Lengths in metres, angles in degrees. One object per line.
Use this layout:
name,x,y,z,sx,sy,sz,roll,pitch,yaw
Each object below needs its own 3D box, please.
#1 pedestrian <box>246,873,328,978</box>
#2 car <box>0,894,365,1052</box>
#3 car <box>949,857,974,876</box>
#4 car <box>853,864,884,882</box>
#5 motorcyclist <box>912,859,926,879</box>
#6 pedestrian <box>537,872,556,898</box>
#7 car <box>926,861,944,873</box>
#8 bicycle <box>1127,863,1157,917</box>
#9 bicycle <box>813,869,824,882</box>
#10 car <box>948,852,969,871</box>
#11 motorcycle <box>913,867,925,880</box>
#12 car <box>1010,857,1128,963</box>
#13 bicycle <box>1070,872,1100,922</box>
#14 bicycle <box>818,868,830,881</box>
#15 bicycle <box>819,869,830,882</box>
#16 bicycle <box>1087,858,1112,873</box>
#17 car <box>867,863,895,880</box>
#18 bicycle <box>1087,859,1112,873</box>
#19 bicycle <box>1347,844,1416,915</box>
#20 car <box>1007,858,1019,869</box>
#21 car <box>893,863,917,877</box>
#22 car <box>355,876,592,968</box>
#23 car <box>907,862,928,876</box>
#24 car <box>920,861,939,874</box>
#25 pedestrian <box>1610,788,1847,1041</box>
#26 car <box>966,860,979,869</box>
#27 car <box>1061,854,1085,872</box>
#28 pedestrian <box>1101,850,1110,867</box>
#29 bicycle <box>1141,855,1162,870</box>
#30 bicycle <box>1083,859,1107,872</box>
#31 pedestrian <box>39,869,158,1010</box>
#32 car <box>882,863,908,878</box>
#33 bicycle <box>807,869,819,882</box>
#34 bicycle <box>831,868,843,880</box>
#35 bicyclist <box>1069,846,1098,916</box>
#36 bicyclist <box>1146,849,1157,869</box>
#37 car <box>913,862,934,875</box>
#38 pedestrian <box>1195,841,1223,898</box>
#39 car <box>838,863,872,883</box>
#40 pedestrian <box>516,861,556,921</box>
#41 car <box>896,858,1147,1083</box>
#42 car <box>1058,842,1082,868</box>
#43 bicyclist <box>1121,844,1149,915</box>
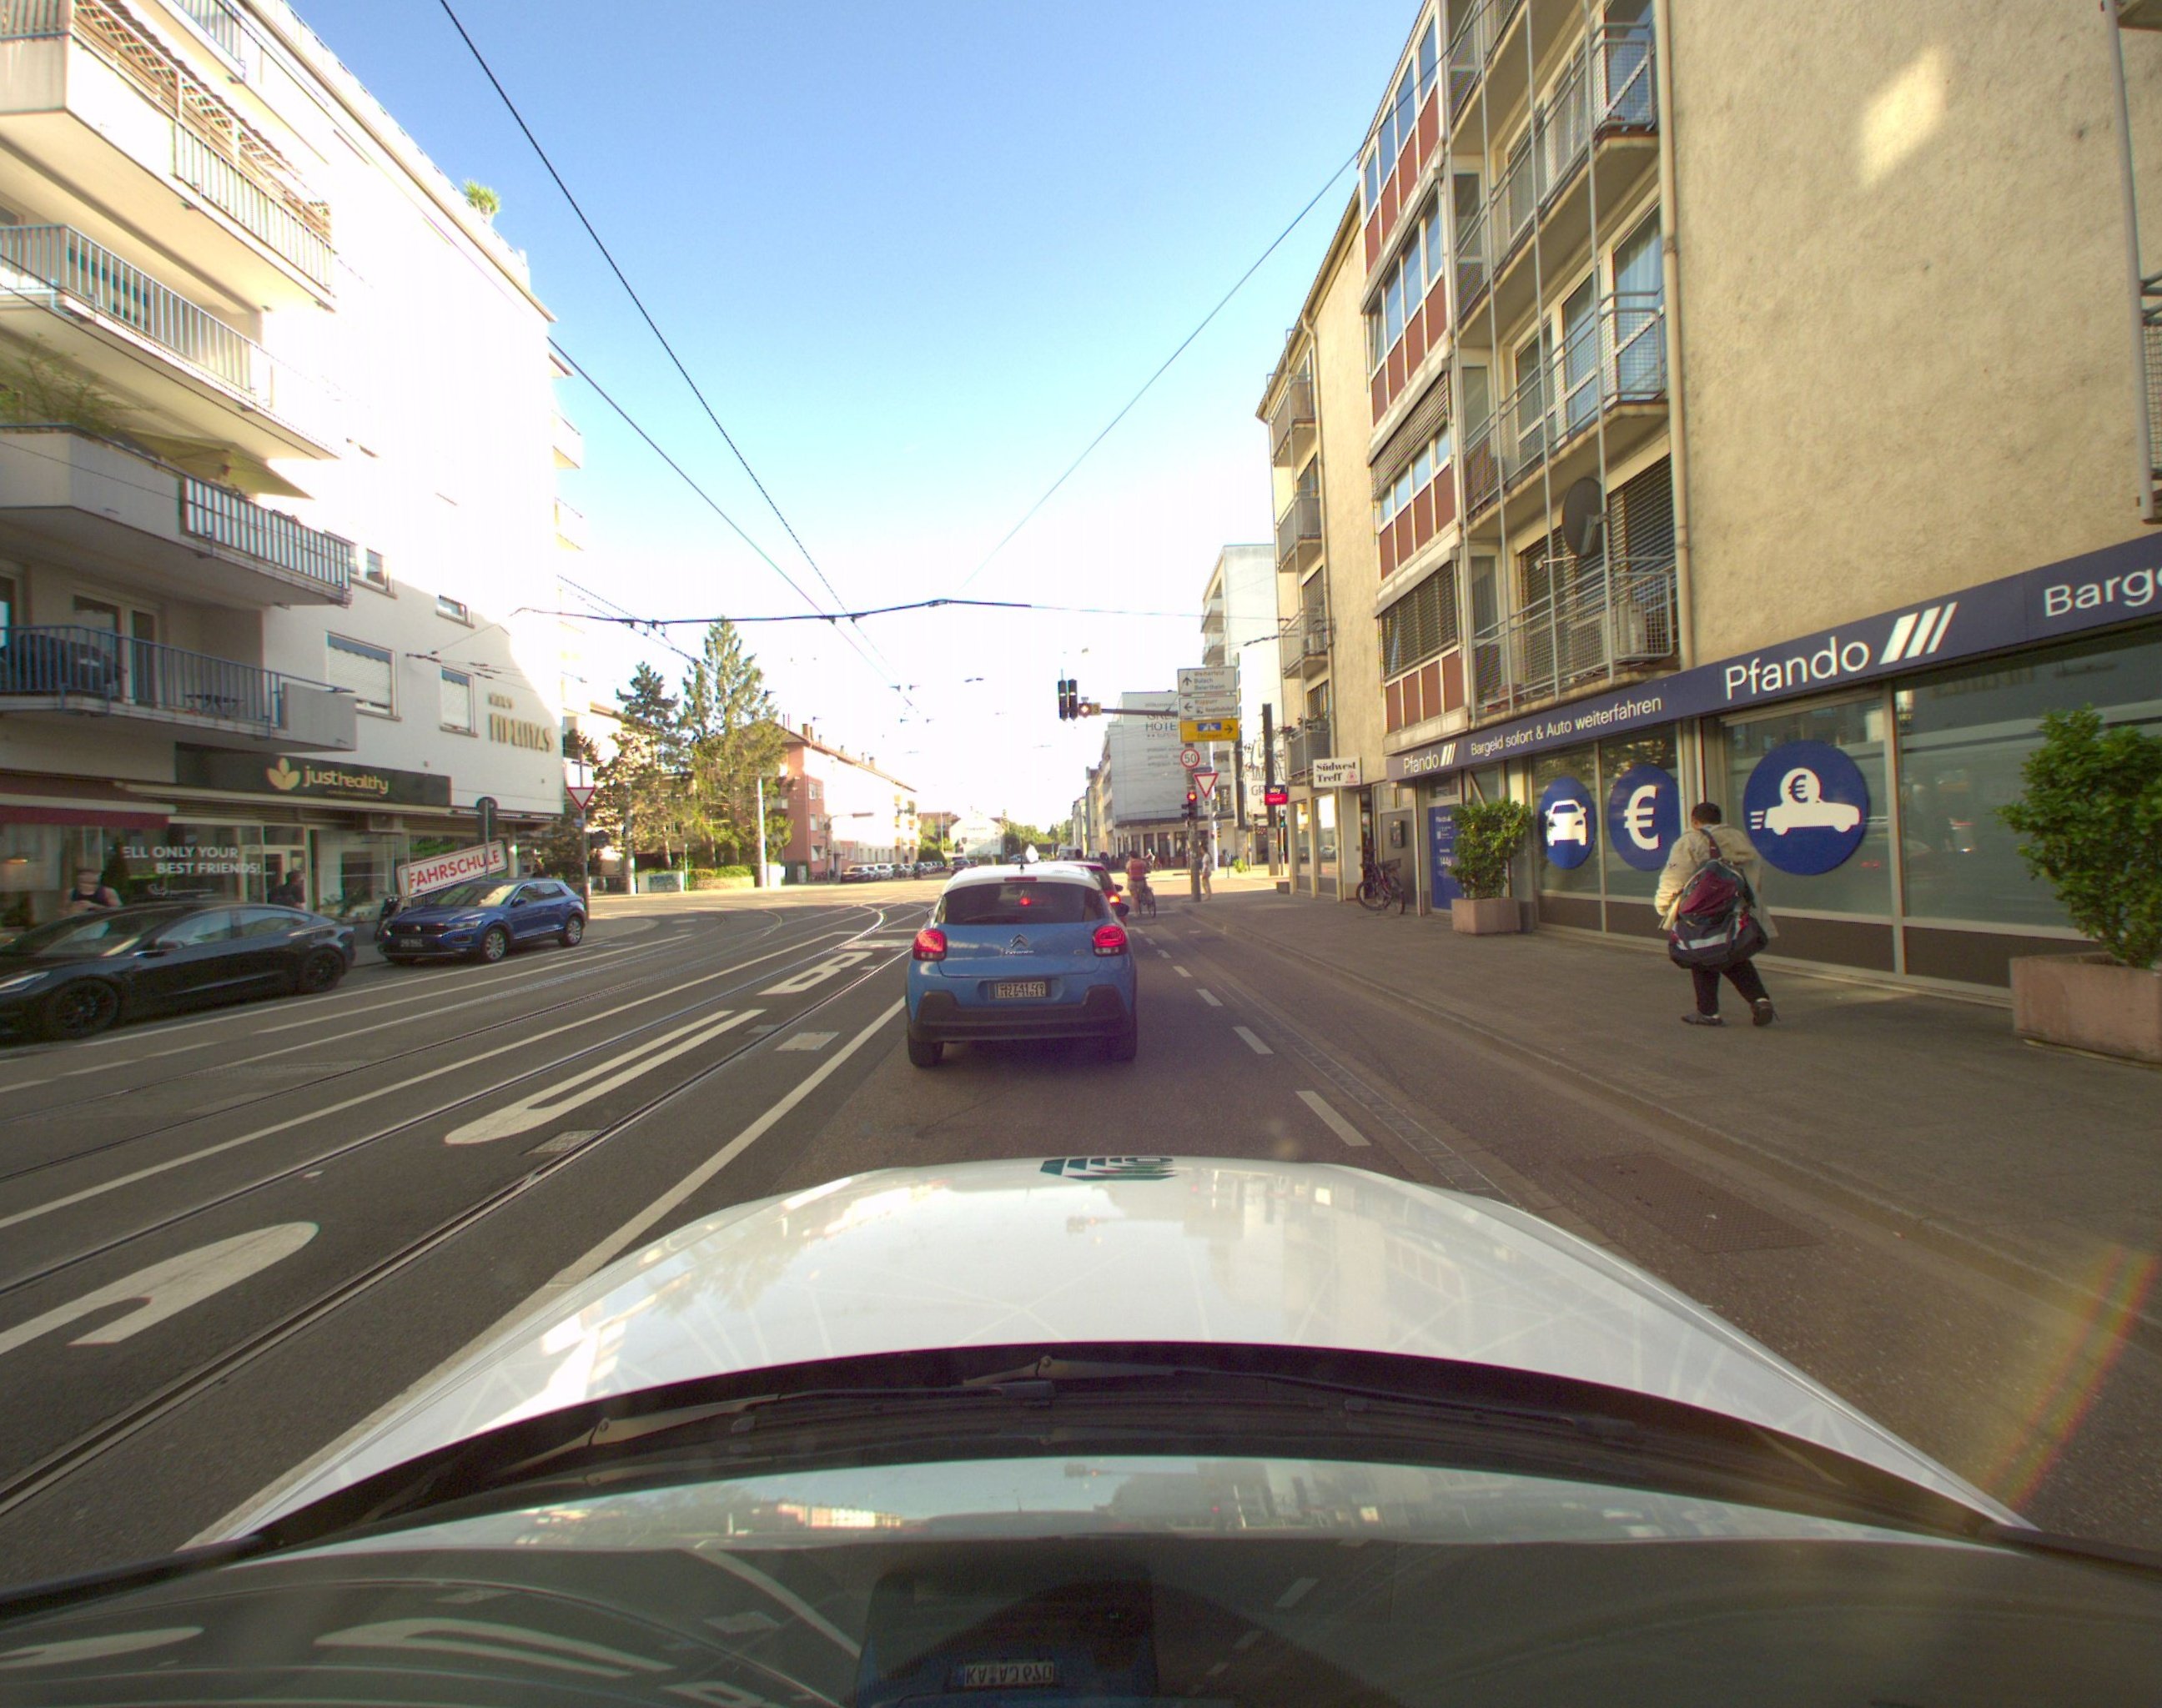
pedestrian,-13.483,1.192,13.847,0.601,1.708,0.730,-2,0,-1
car,-11.979,1.329,10.422,1.720,1.403,4.486,0,0,-2
car,-11.312,1.138,77.464,2.002,1.627,5.044,-2,0,-5
car,-19.570,1.716,75.242,1.947,1.519,4.040,-2,0,-4
motorcyclist,-13.472,1.269,67.693,0.990,1.631,0.737,-2,0,-7
pedestrian,-36.667,2.099,55.877,0.805,1.702,0.681,-2,0,1
car,-20.726,1.850,115.682,1.947,1.519,3.995,-2,0,-4
bicycle,1.537,0.889,20.727,0.611,1.264,1.911,-2,0,2
bicycle,-21.972,1.791,68.186,0.537,1.082,1.905,-2,0,-9
car,-18.127,1.103,120.575,2.489,2.712,5.828,-2,0,-5
motorcycle,-13.482,1.597,67.760,0.751,0.976,2.092,-2,0,-7
car,-0.221,0.812,13.708,1.675,1.462,3.997,-1,0,-2
bicycle,0.081,1.024,19.866,0.615,1.103,1.884,-2,0,-2
bicycle,-23.048,1.839,73.105,0.536,1.082,1.908,-2,0,-4
bicycle,-21.594,1.791,68.471,0.537,1.082,1.905,-2,0,-9
bicycle,1.518,0.934,65.935,1.901,1.064,0.641,-2,0,-6
car,-19.559,1.682,79.854,1.947,1.519,3.995,-2,0,-4
bicycle,1.527,0.964,67.242,1.901,1.064,0.641,-2,0,-6
bicycle,5.763,0.460,15.740,0.637,1.264,1.911,-2,0,2
car,-14.270,1.981,171.410,2.333,2.039,5.044,-2,0,-4
car,-19.981,1.788,92.595,1.947,1.519,3.995,-2,0,-4
car,-11.874,1.243,16.325,1.720,1.505,4.113,0,0,-2
car,-19.851,1.784,99.024,1.947,1.519,3.995,-2,0,-4
car,-20.298,1.771,109.326,1.947,1.519,3.995,-2,0,-4
pedestrian,4.470,0.387,5.696,0.871,1.571,0.868,-4,0,-1
car,-19.340,1.816,145.243,1.947,1.519,3.995,-2,0,-4
car,-0.714,0.745,67.986,1.783,1.359,3.909,-2,0,-4
pedestrian,2.105,0.400,70.379,0.520,1.420,0.550,-3,0,22
bicycle,5.306,0.652,61.152,1.479,1.091,0.607,-2,0,10
bicycle,1.162,0.956,68.444,1.901,1.064,0.641,-2,0,-6
pedestrian,-13.664,1.153,11.346,0.668,1.857,0.753,-2,0,-4
car,-19.729,1.737,86.527,1.947,1.519,3.995,-2,0,-4
bicycle,-22.378,1.790,68.076,0.640,1.082,1.905,-2,0,-9
bicycle,-22.715,1.857,75.801,0.608,1.082,1.908,-2,0,-4
bicyclist,0.051,0.648,19.764,0.615,1.630,0.759,-2,0,-2
bicyclist,5.287,0.359,61.153,0.722,1.434,0.608,-2,0,12
car,-20.097,1.799,104.038,1.947,1.519,3.995,-2,0,-4
pedestrian,3.834,0.457,24.350,0.747,1.635,0.742,-2,0,7
car,-19.289,1.598,69.619,1.947,1.519,3.995,-2,0,-4
pedestrian,-17.323,1.169,25.873,0.761,1.834,0.725,-2,0,28
car,-0.447,0.792,7.499,1.675,1.462,3.997,-1,0,-2
car,-1.037,0.089,73.447,2.074,2.269,5.647,-1,0,-2
bicyclist,1.373,0.635,20.693,0.598,1.746,1.084,-2,0,2
